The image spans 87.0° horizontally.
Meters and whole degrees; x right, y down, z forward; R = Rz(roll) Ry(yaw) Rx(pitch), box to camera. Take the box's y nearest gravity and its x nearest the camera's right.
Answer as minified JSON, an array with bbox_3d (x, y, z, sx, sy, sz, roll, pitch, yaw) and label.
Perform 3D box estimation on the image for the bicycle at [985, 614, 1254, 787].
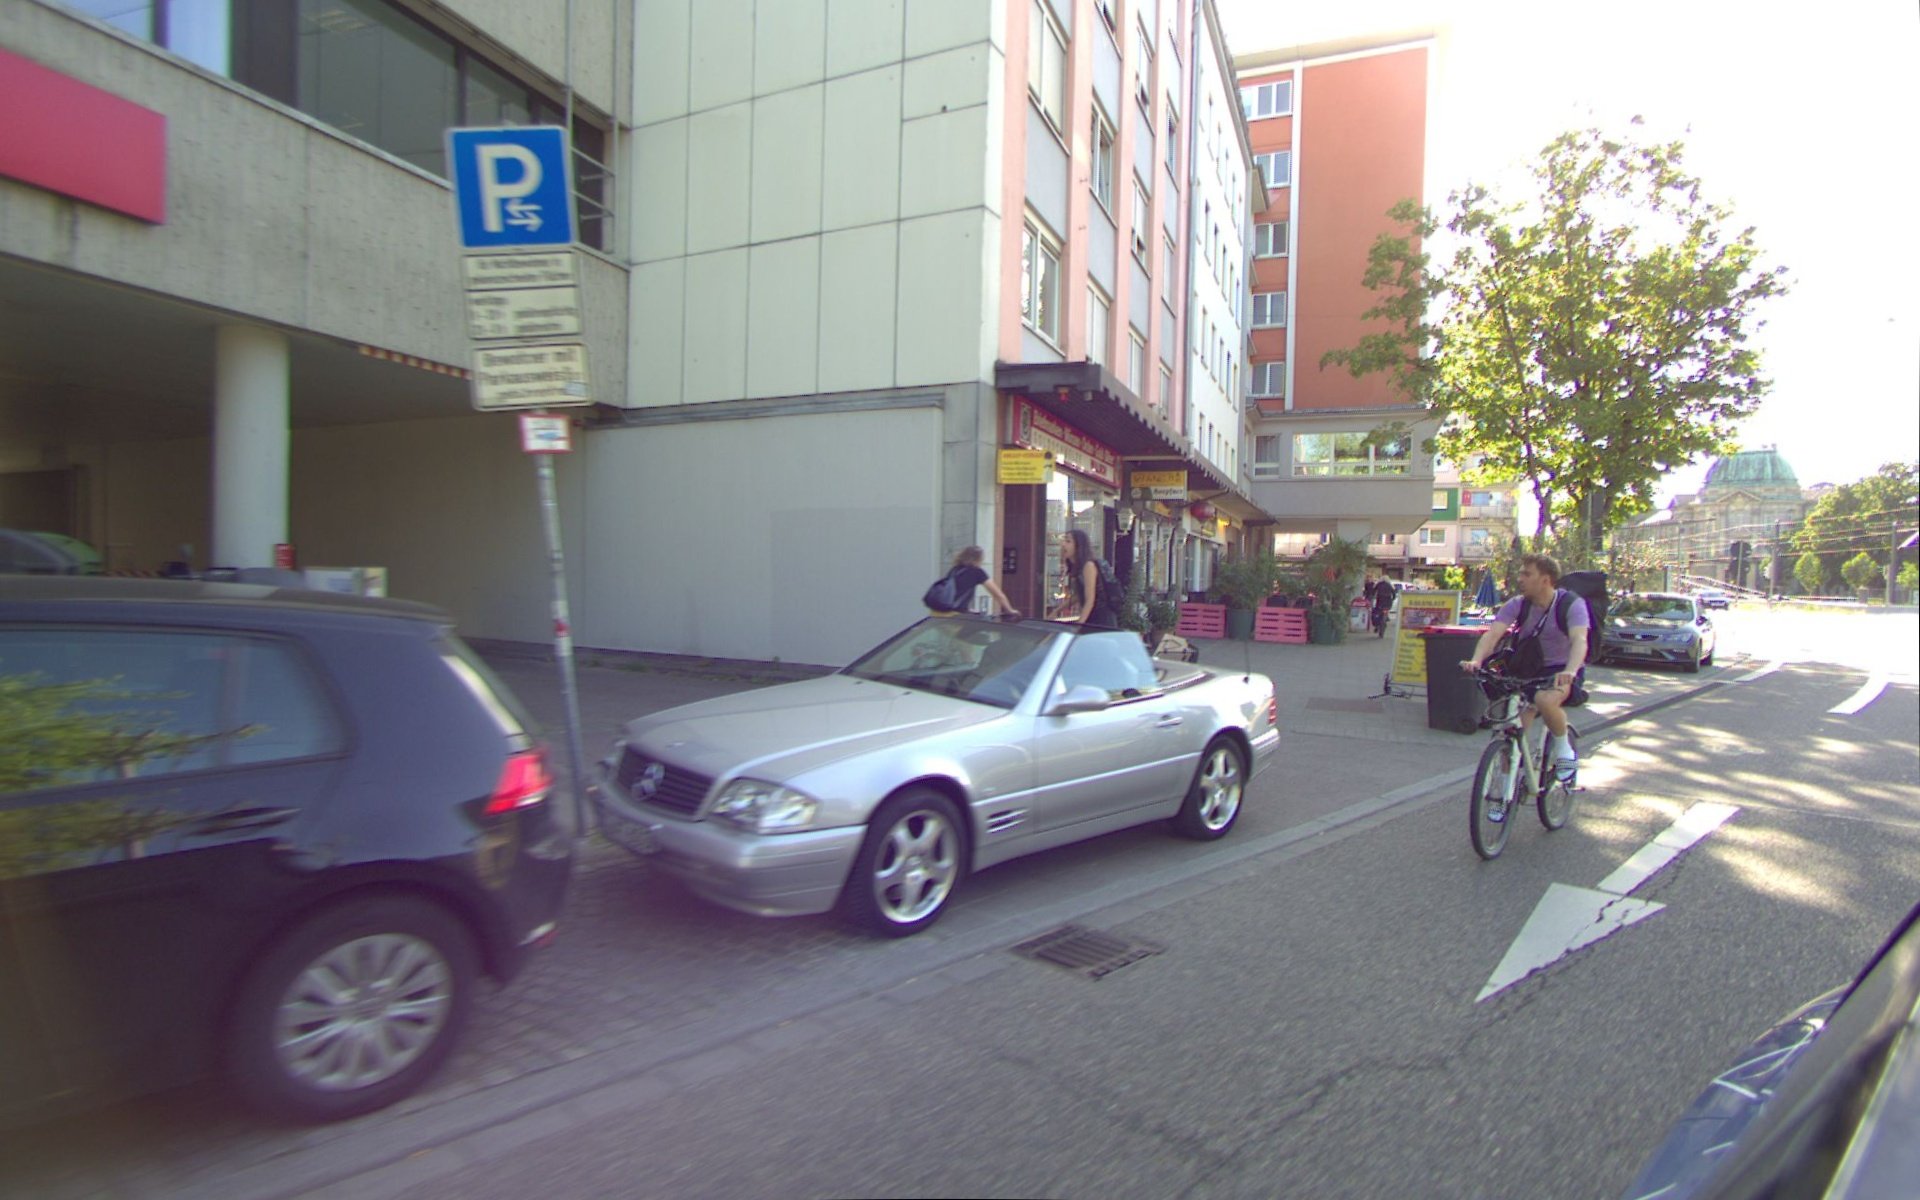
[{"bbox_3d":[1.237,0.744,8.023,1.923,1.200,0.824,-1,1,-13],"label":"bicycle"}]

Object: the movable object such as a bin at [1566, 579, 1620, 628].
[{"bbox_3d":[21.888,0.098,35.027,1.368,1.660,1.001,1,1,21],"label":"movable object such as a bin"}]

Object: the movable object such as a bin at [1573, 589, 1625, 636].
[{"bbox_3d":[19.101,0.358,30.276,1.163,1.373,0.920,0,1,23],"label":"movable object such as a bin"}]

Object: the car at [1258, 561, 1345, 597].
[{"bbox_3d":[22.702,-1.414,67.371,5.203,2.226,2.356,2,1,27],"label":"car"}]

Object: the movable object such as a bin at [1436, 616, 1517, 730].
[{"bbox_3d":[5.310,0.730,10.403,0.592,1.097,0.595,0,1,43],"label":"movable object such as a bin"}]

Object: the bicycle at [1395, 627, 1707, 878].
[{"bbox_3d":[3.642,0.800,6.147,2.188,1.150,0.888,-2,1,-38],"label":"bicycle"}]

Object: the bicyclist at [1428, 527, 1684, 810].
[{"bbox_3d":[3.569,0.346,6.083,0.970,1.502,1.040,-1,1,-38],"label":"bicyclist"}]

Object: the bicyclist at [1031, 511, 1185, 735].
[{"bbox_3d":[1.146,0.151,8.018,0.916,1.653,0.944,-1,1,-12],"label":"bicyclist"}]

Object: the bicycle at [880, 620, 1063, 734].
[{"bbox_3d":[0.162,0.687,9.718,0.534,0.903,2.039,0,1,42],"label":"bicycle"}]

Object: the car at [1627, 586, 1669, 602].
[{"bbox_3d":[58.138,-0.517,85.618,1.964,1.308,4.362,1,1,21],"label":"car"}]

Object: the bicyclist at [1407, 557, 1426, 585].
[{"bbox_3d":[25.868,-1.641,57.370,0.924,1.579,0.935,-1,1,20],"label":"bicyclist"}]

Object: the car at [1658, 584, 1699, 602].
[{"bbox_3d":[63.152,-0.619,89.039,1.976,1.447,4.104,0,1,21],"label":"car"}]

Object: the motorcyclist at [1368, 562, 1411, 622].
[{"bbox_3d":[11.532,-0.217,27.140,0.895,1.570,0.796,0,1,37],"label":"motorcyclist"}]

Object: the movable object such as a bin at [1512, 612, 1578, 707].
[{"bbox_3d":[6.997,0.697,12.098,0.591,1.082,0.488,0,1,43],"label":"movable object such as a bin"}]

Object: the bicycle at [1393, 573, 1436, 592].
[{"bbox_3d":[25.762,-1.006,57.423,2.122,1.013,0.855,0,1,21],"label":"bicycle"}]

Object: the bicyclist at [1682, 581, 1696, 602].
[{"bbox_3d":[60.643,-0.695,84.218,0.694,1.751,0.850,-1,1,16],"label":"bicyclist"}]

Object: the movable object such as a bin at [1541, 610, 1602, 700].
[{"bbox_3d":[7.854,0.683,12.996,0.573,1.096,0.562,0,1,43],"label":"movable object such as a bin"}]

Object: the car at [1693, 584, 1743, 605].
[{"bbox_3d":[59.336,-0.428,79.302,1.976,1.556,4.327,0,1,21],"label":"car"}]

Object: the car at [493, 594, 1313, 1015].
[{"bbox_3d":[0.027,0.697,5.746,4.523,1.360,1.853,-2,1,-43],"label":"car"}]

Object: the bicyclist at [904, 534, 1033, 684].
[{"bbox_3d":[0.089,0.067,9.636,0.757,1.343,0.979,0,1,42],"label":"bicyclist"}]

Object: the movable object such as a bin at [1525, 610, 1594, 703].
[{"bbox_3d":[7.410,0.681,12.513,0.619,1.082,0.601,0,1,43],"label":"movable object such as a bin"}]

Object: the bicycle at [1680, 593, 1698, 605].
[{"bbox_3d":[60.657,-0.118,84.240,0.622,0.951,1.897,-1,1,16],"label":"bicycle"}]

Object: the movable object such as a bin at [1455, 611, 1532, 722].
[{"bbox_3d":[5.710,0.688,10.829,0.610,1.119,0.518,0,1,43],"label":"movable object such as a bin"}]

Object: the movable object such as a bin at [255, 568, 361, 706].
[{"bbox_3d":[-5.739,0.297,8.908,0.710,1.148,0.745,-1,1,-38],"label":"movable object such as a bin"}]

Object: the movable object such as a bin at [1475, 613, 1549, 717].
[{"bbox_3d":[6.118,0.704,11.211,0.604,1.082,0.537,0,1,43],"label":"movable object such as a bin"}]

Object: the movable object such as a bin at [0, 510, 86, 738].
[{"bbox_3d":[-6.554,0.150,6.648,1.100,1.415,1.340,-1,1,-36],"label":"movable object such as a bin"}]

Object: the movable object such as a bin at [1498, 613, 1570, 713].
[{"bbox_3d":[6.613,0.703,11.663,0.605,1.082,0.604,0,1,42],"label":"movable object such as a bin"}]

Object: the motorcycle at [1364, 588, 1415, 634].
[{"bbox_3d":[11.538,0.261,27.133,0.773,1.140,2.268,0,1,36],"label":"motorcycle"}]

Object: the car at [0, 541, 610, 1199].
[{"bbox_3d":[-3.204,0.649,2.457,4.128,1.537,1.673,-2,1,-42],"label":"car"}]

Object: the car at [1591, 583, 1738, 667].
[{"bbox_3d":[14.303,0.437,20.433,1.766,1.456,4.511,3,2,43],"label":"car"}]

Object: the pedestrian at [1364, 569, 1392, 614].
[{"bbox_3d":[17.694,-0.380,42.854,0.826,1.867,0.877,0,1,44],"label":"pedestrian"}]
